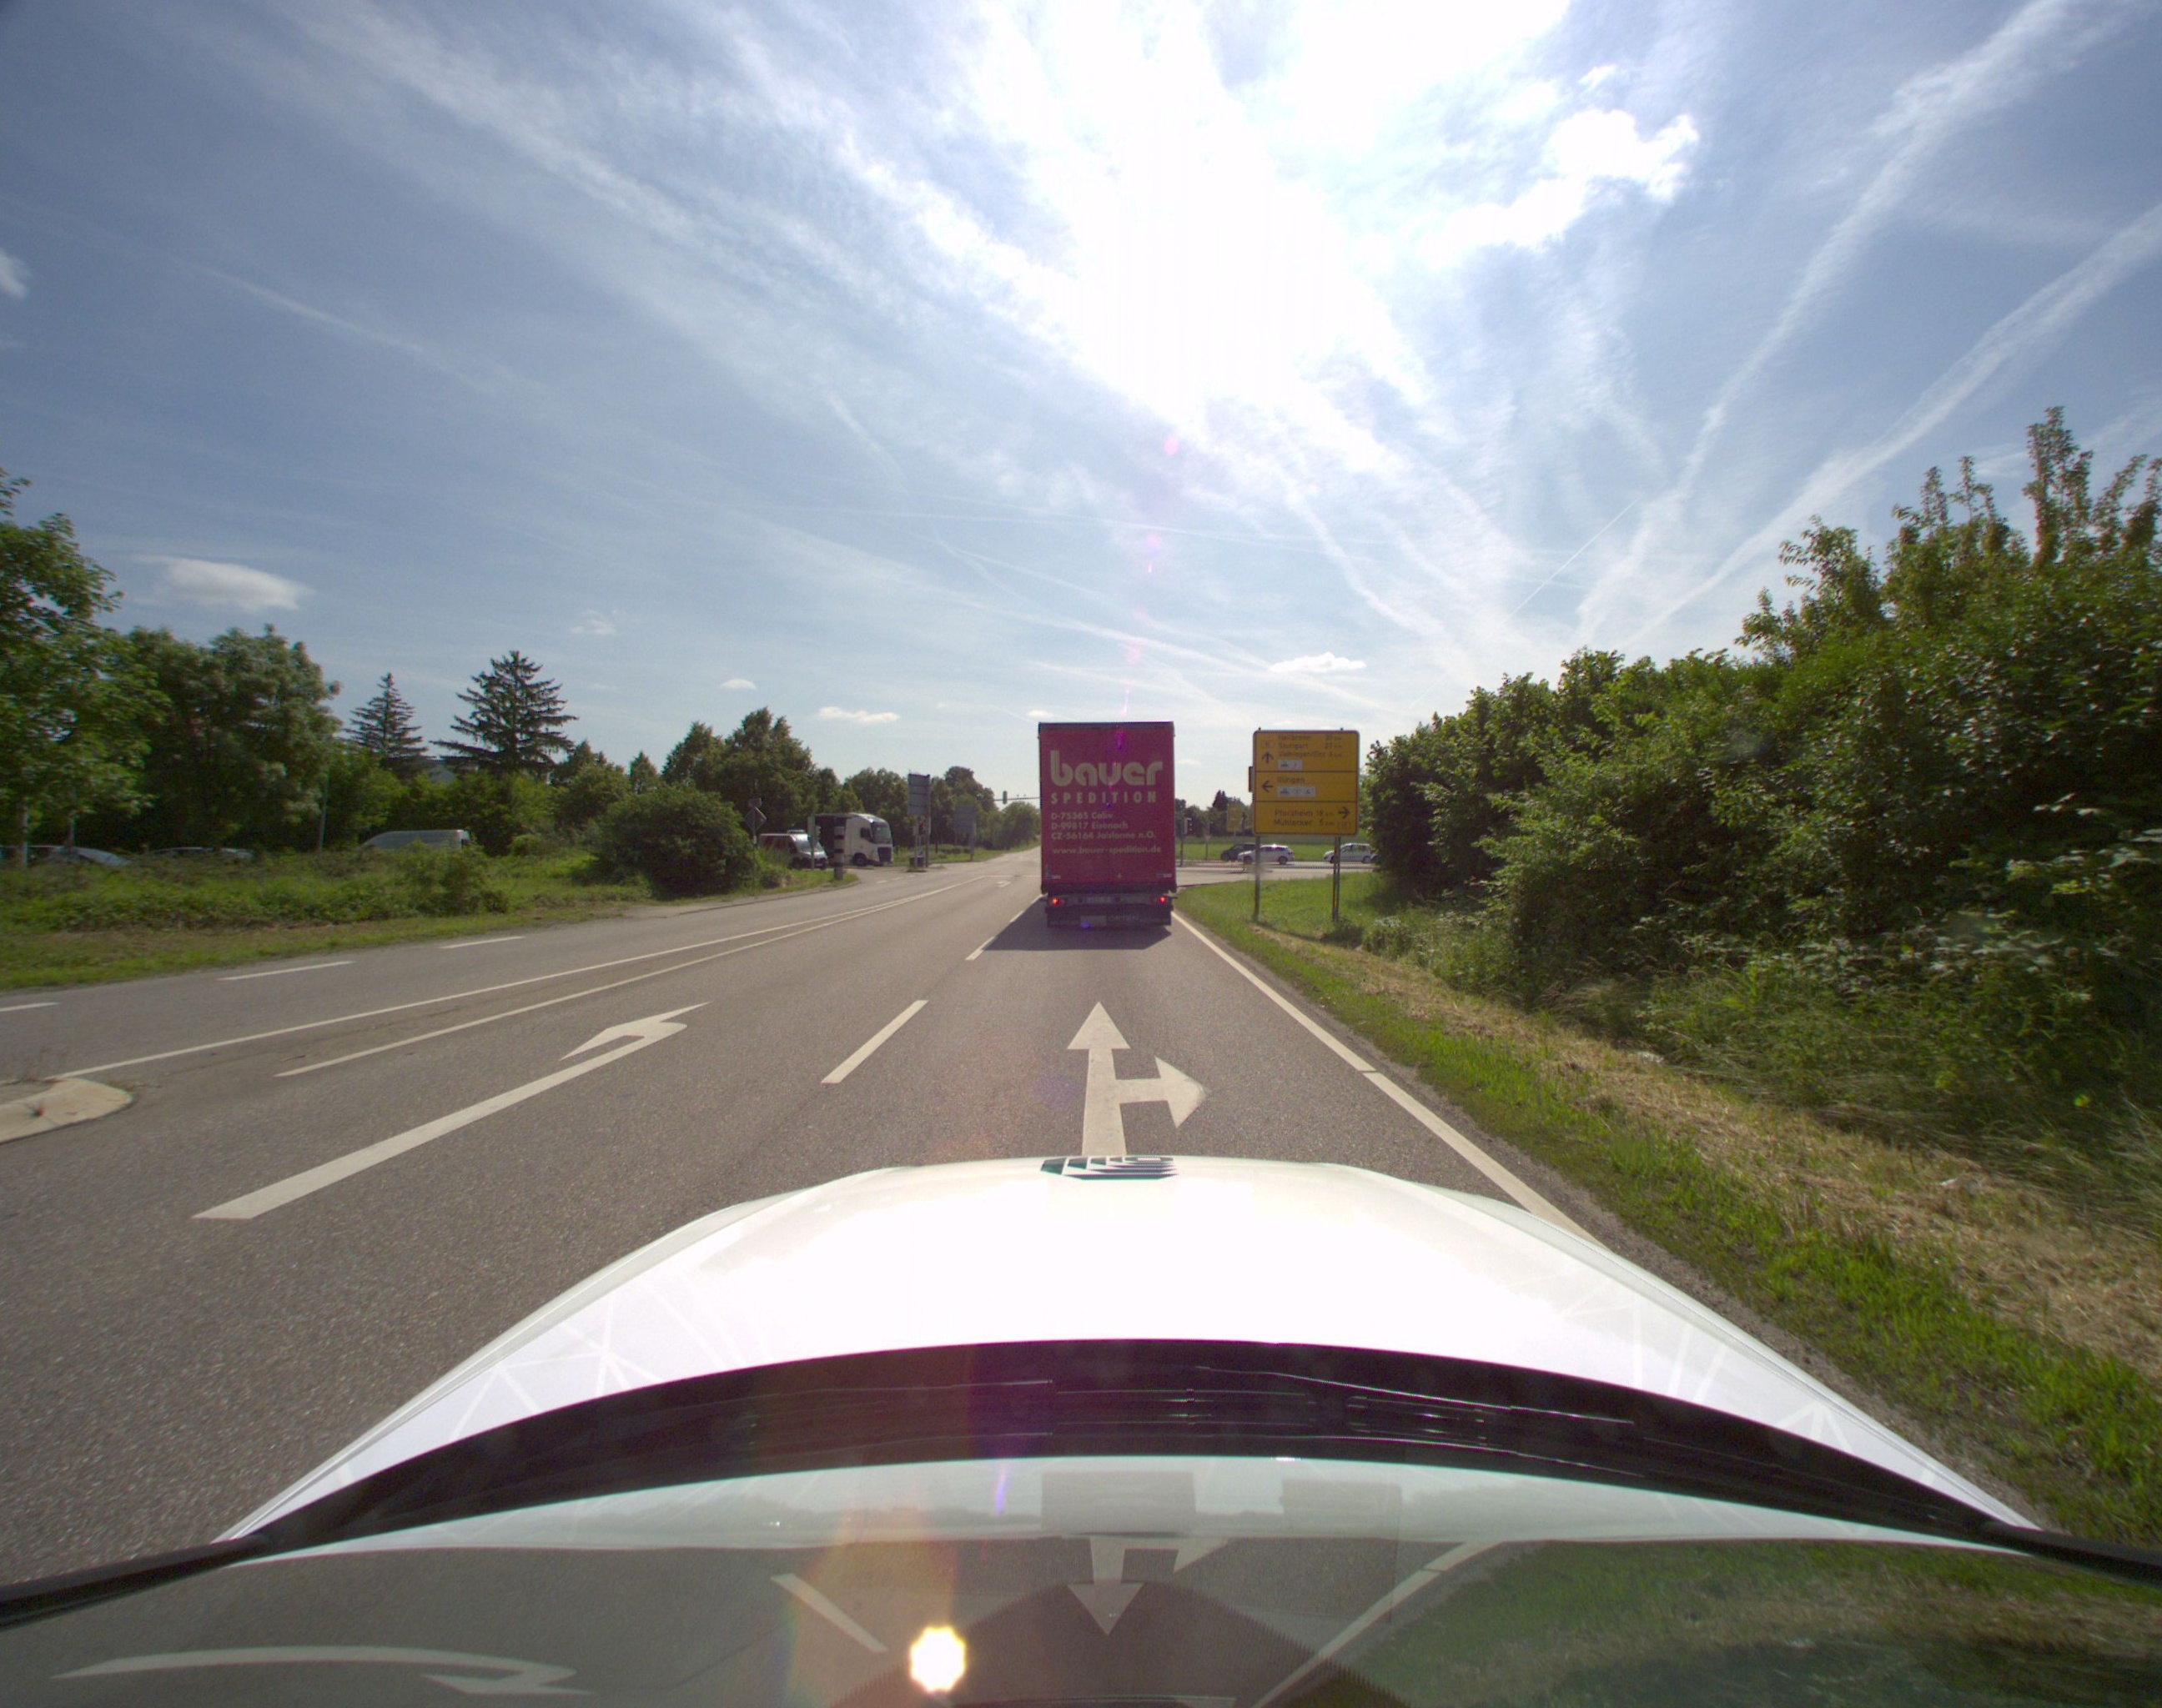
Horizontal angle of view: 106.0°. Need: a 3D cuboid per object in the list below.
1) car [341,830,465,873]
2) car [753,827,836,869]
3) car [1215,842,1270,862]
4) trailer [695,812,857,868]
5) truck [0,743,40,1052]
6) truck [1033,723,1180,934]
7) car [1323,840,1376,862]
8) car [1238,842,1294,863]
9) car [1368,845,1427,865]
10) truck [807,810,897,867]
[{"bbox_3d":[-35.754,-0.100,43.133,4.601,2.180,1.985,1,0,-22],"label":"car"},{"bbox_3d":[-19.129,-0.446,54.276,5.908,2.654,2.138,0,2,35],"label":"car"},{"bbox_3d":[13.607,-0.122,68.615,4.232,1.656,1.710,0,-1,37],"label":"car"},{"bbox_3d":[-23.710,-1.120,62.965,13.561,4.061,2.814,0,1,24],"label":"trailer"},{"bbox_3d":[-10.137,0.338,3.632,2.225,2.375,6.375,0,0,15],"label":"truck"},{"bbox_3d":[0.532,-0.573,23.505,2.725,3.925,16.625,0,1,0],"label":"truck"},{"bbox_3d":[21.241,-0.218,64.588,3.801,1.633,1.767,-1,-1,12],"label":"car"},{"bbox_3d":[14.286,-0.106,62.929,4.067,1.547,1.882,0,-1,17],"label":"car"},{"bbox_3d":[23.393,0.059,60.310,3.822,1.357,1.682,1,0,12],"label":"car"},{"bbox_3d":[-16.908,-1.117,60.235,5.780,4.061,2.811,0,1,17],"label":"truck"}]
